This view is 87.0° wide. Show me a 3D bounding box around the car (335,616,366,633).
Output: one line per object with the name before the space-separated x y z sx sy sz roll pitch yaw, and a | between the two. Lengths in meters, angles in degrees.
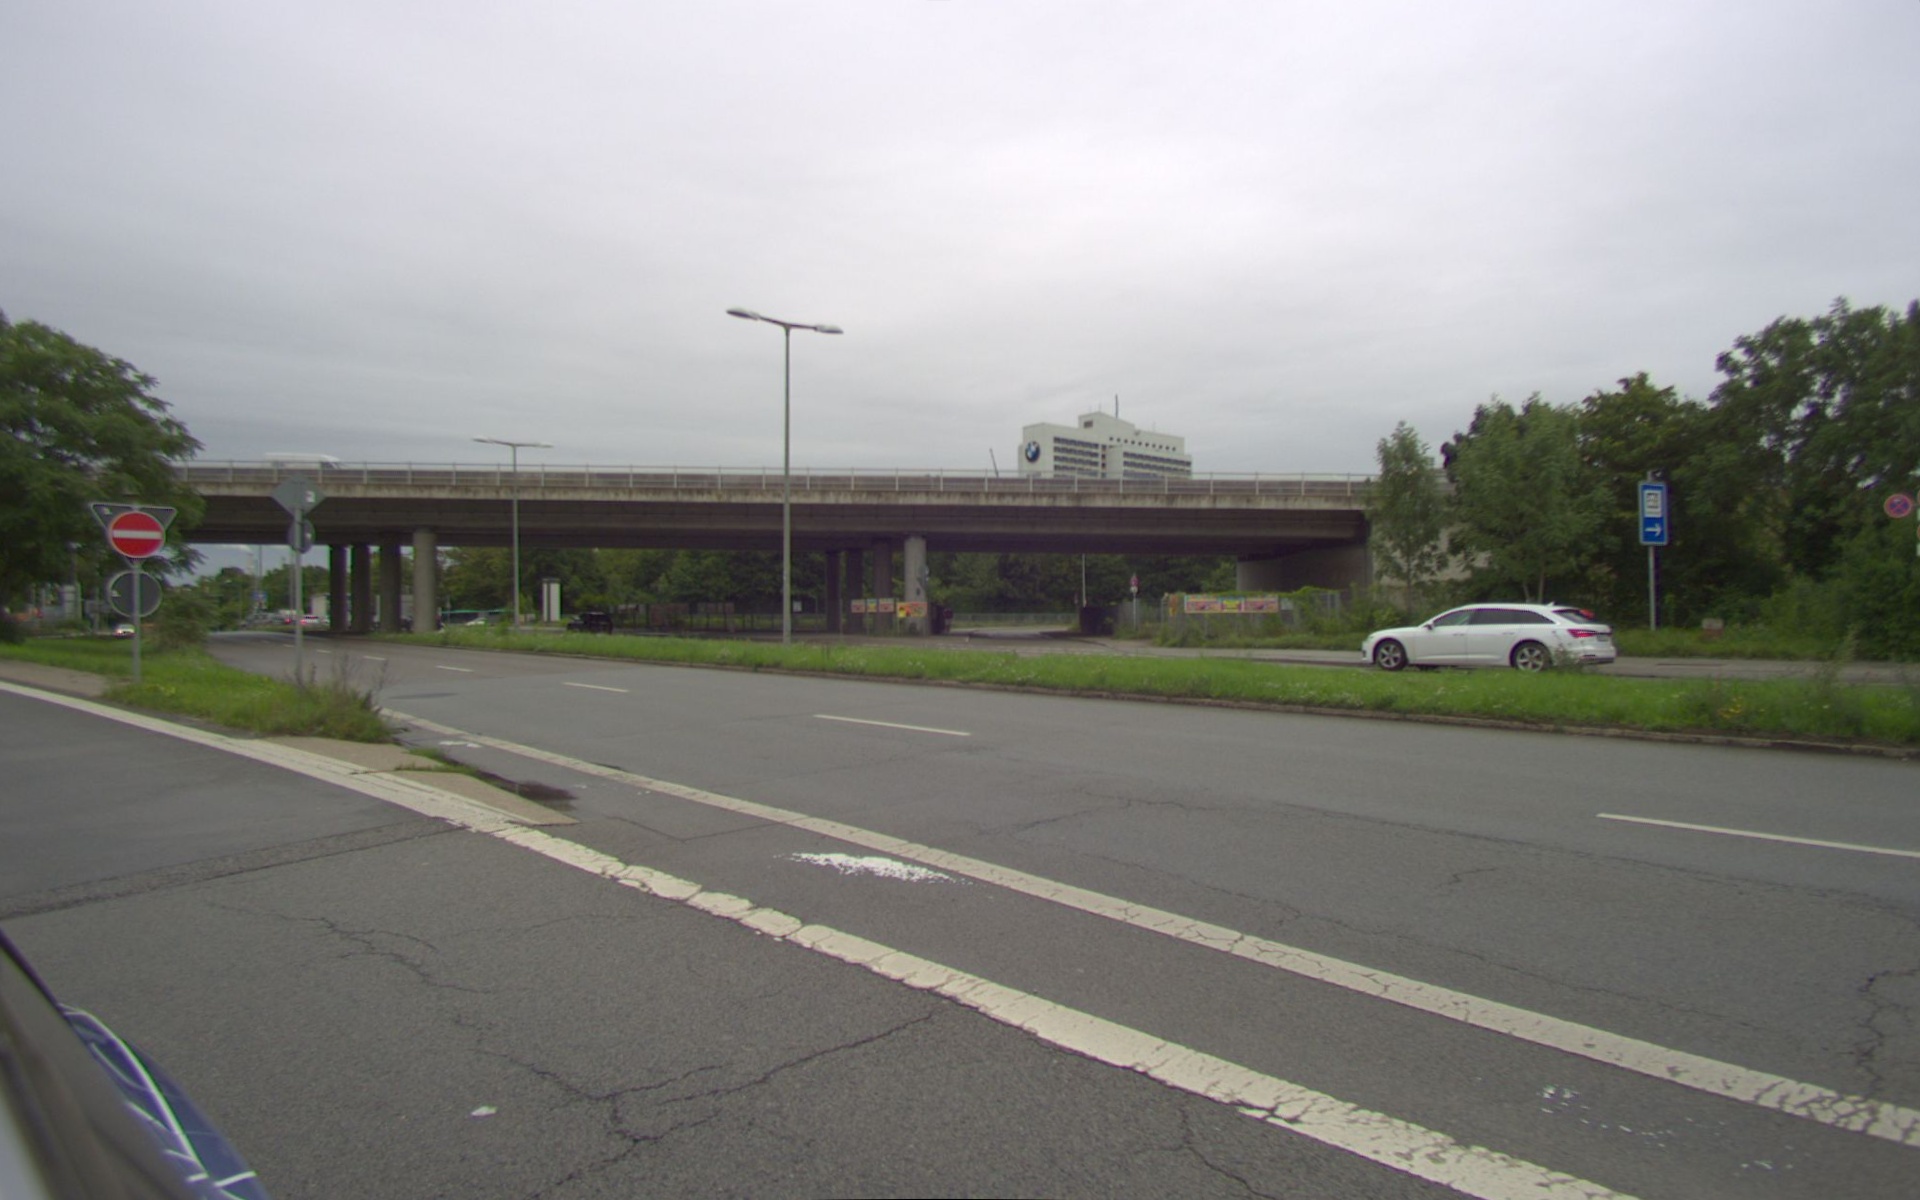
car | -61.078 2.473 101.331 1.944 1.595 4.599 3 -3 -40

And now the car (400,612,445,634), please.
car | -41.820 1.775 78.686 1.945 1.595 4.596 4 -3 -42

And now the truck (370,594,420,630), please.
truck | -49.278 1.058 88.166 2.225 3.000 7.244 3 -3 -41

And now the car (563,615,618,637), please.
car | -24.512 1.699 67.087 1.944 1.407 4.826 2 -1 -39

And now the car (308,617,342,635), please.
car | -60.131 2.446 95.765 1.945 1.595 4.597 4 -3 -41

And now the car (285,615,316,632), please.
car | -68.681 2.434 105.297 1.945 1.595 4.596 4 -3 -42

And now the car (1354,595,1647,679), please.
car | 11.284 0.734 21.500 1.968 1.584 5.128 1 -1 -40

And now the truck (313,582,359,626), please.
truck | -69.124 0.515 112.036 2.755 4.626 9.617 3 -3 -40

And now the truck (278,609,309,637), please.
truck | -94.765 3.250 143.917 2.755 3.708 6.654 3 -3 -40

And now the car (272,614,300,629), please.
car | -74.247 2.385 111.453 1.945 1.595 4.597 -1 0 -42

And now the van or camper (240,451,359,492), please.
van or camper | -38.563 -7.500 59.185 5.428 2.029 2.332 0 0 -1
